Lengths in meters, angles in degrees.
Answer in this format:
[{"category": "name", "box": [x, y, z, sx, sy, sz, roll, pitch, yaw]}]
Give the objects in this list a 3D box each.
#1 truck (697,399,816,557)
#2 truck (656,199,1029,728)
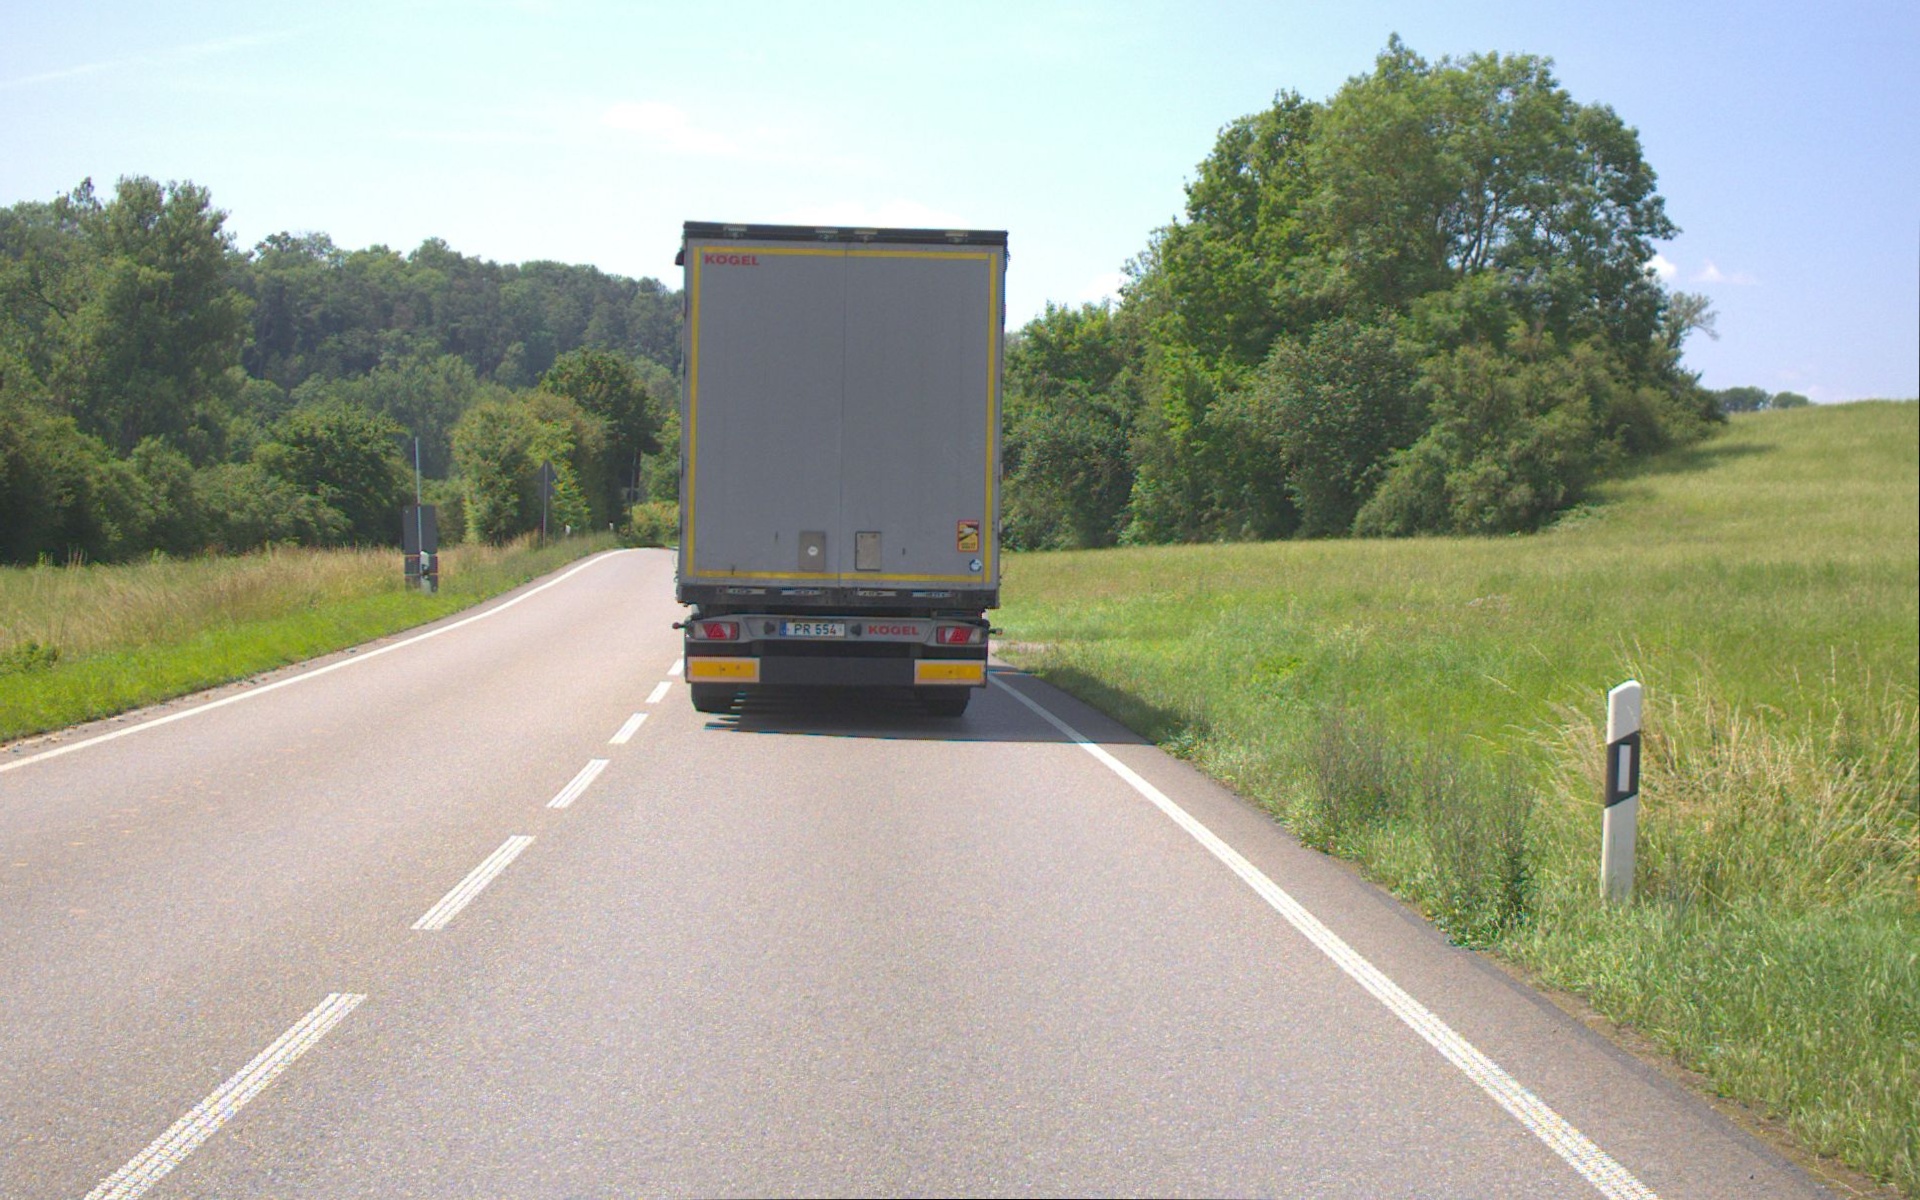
[{"category": "truck", "box": [-6.890, -4.230, 114.200, 3.104, 4.688, 16.596, 0, 4, -6]}, {"category": "truck", "box": [-1.586, -1.179, 34.393, 2.801, 4.055, 15.328, 1, 1, -5]}]
